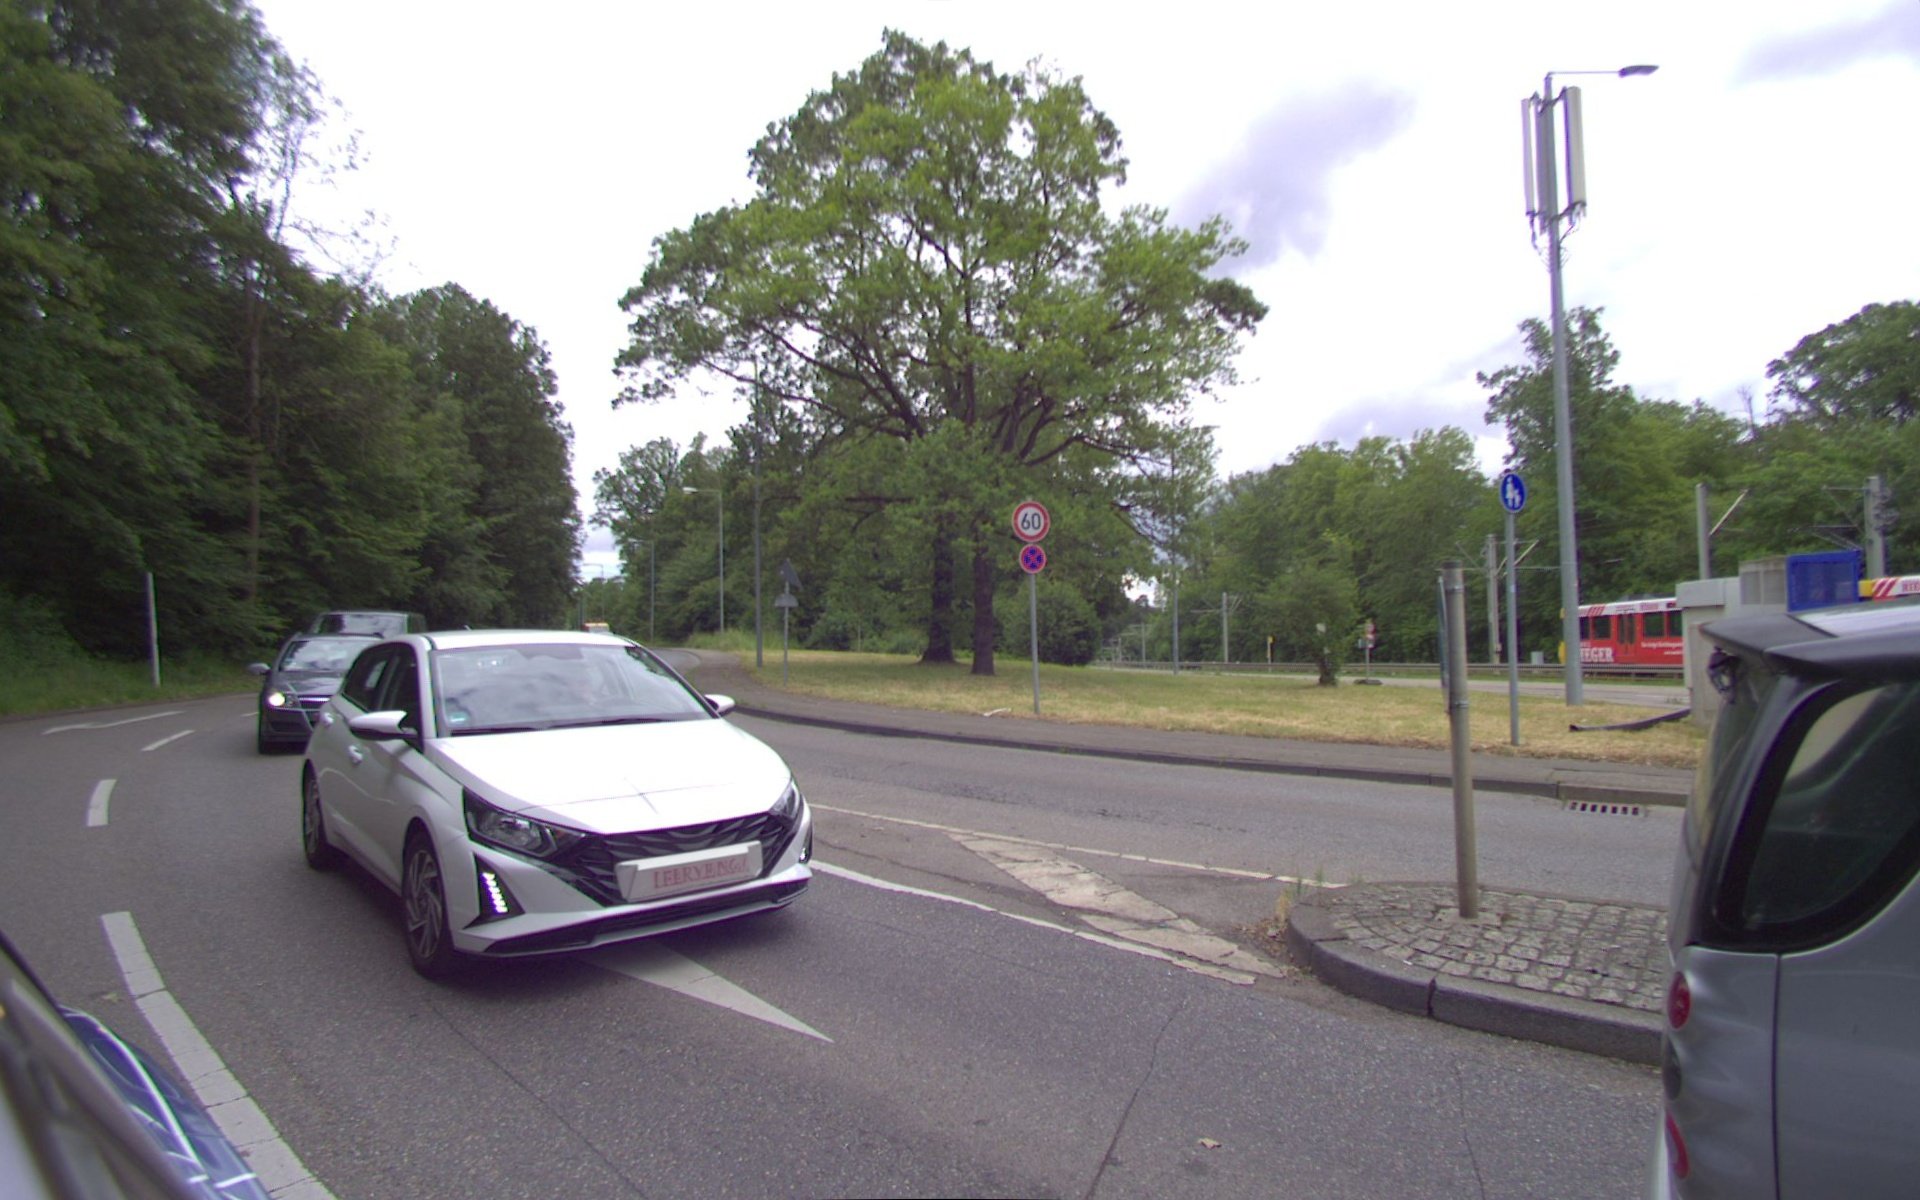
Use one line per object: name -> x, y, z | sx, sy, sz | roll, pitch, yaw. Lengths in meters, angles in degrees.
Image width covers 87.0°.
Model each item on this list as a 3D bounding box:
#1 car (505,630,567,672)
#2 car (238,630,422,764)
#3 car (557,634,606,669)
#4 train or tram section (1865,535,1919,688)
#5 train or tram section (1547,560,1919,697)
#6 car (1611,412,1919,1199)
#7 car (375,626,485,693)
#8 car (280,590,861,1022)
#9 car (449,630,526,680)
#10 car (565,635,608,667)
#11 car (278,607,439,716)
car -> -16.006, 1.908, 38.350 | 1.749, 1.511, 3.884 | 1, -3, -17
car -> -8.444, 1.188, 13.705 | 1.773, 1.490, 4.483 | 2, -3, -31
car -> -16.699, 2.267, 44.796 | 1.749, 1.511, 3.884 | 1, -3, -17
train or tram section -> 31.327, 0.253, 23.432 | 2.912, 4.686, 18.562 | 0, -1, -4
train or tram section -> 30.854, 1.067, 42.232 | 2.927, 4.452, 18.706 | 0, -1, 4
car -> 2.334, 0.588, 0.954 | 2.725, 1.598, 1.443 | -2, -3, 39
car -> -14.489, 1.601, 27.899 | 1.764, 1.687, 4.001 | 0, -2, -13
car -> -2.417, 0.802, 5.589 | 1.630, 1.490, 4.078 | 2, -3, -42
car -> -15.414, 1.779, 33.174 | 1.749, 1.511, 3.884 | 1, -3, -17
car -> -18.533, 2.533, 50.305 | 1.749, 1.511, 3.884 | 1, -3, -17
car -> -11.648, 1.170, 19.931 | 1.957, 1.887, 4.546 | 1, -3, -21
